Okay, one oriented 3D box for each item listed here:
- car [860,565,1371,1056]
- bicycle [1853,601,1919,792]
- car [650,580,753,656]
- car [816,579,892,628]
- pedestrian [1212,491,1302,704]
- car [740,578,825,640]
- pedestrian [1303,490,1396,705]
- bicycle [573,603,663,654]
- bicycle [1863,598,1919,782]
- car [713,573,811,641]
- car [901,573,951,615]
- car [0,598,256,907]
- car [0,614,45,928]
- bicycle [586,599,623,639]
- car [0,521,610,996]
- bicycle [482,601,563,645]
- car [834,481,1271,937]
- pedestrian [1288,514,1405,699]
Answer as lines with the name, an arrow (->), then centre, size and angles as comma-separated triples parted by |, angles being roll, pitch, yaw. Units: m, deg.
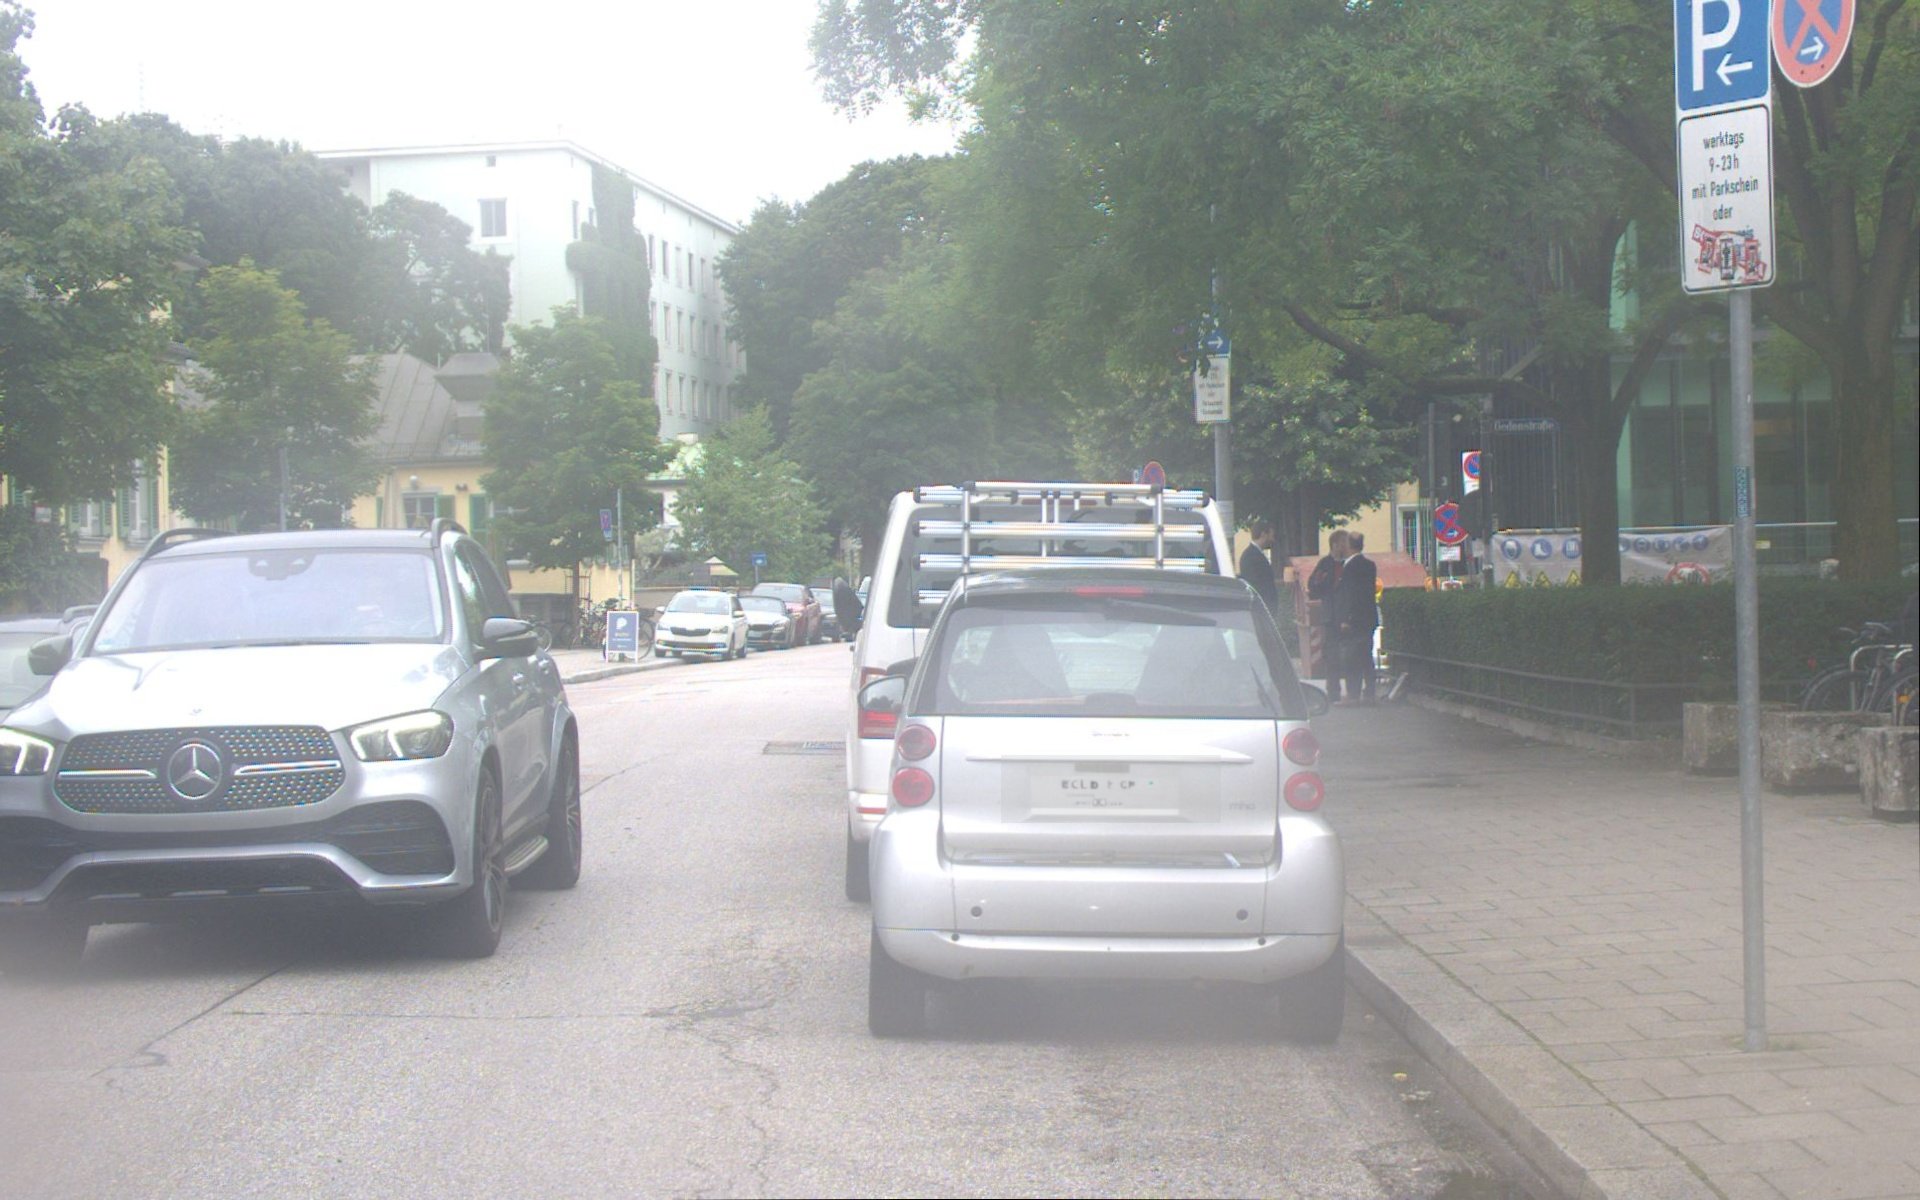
car -> 0.491, 0.657, 12.409 | 1.605, 1.541, 2.934 | 1, 0, 0
bicycle -> 6.378, 0.538, 20.509 | 1.931, 1.110, 0.471 | -2, 0, 2
car -> -5.630, 0.365, 75.285 | 1.734, 1.576, 3.787 | 2, 0, 3
car -> -3.388, 0.101, 110.795 | 1.994, 1.481, 3.999 | -1, 1, 4
pedestrian -> 3.050, -0.029, 35.385 | 0.742, 2.127, 1.056 | -2, 0, -1
car -> -4.769, 0.248, 92.795 | 1.993, 1.597, 4.000 | -1, -1, 1
pedestrian -> 3.962, -0.029, 35.022 | 0.742, 2.127, 1.056 | -2, 0, -1
bicycle -> -7.026, 0.581, 70.783 | 0.623, 1.001, 2.136 | 2, 1, 33
bicycle -> 6.642, 0.518, 21.298 | 1.931, 1.110, 0.471 | -2, 0, 2
car -> -5.025, 0.152, 87.871 | 1.994, 1.643, 4.655 | -1, 0, 3
car -> -1.393, -0.252, 142.126 | 1.810, 1.677, 4.000 | -1, 1, 2
car -> -5.522, 0.790, 19.346 | 1.993, 1.486, 4.883 | -3, 0, 1
car -> -5.328, 0.834, 14.083 | 1.922, 1.434, 4.918 | -3, 0, -2
bicycle -> -8.996, 0.492, 87.031 | 0.621, 1.001, 1.618 | -1, -1, 6
car -> -2.834, 0.564, 14.913 | 2.025, 1.683, 4.677 | -2, 1, 1
bicycle -> -9.559, 0.507, 75.078 | 1.613, 0.922, 0.651 | -1, -1, -24
car -> 0.340, 0.453, 17.510 | 1.845, 1.926, 5.273 | 1, 0, -1
pedestrian -> 4.076, 0.061, 36.235 | 0.744, 1.901, 1.054 | -2, 0, 35
